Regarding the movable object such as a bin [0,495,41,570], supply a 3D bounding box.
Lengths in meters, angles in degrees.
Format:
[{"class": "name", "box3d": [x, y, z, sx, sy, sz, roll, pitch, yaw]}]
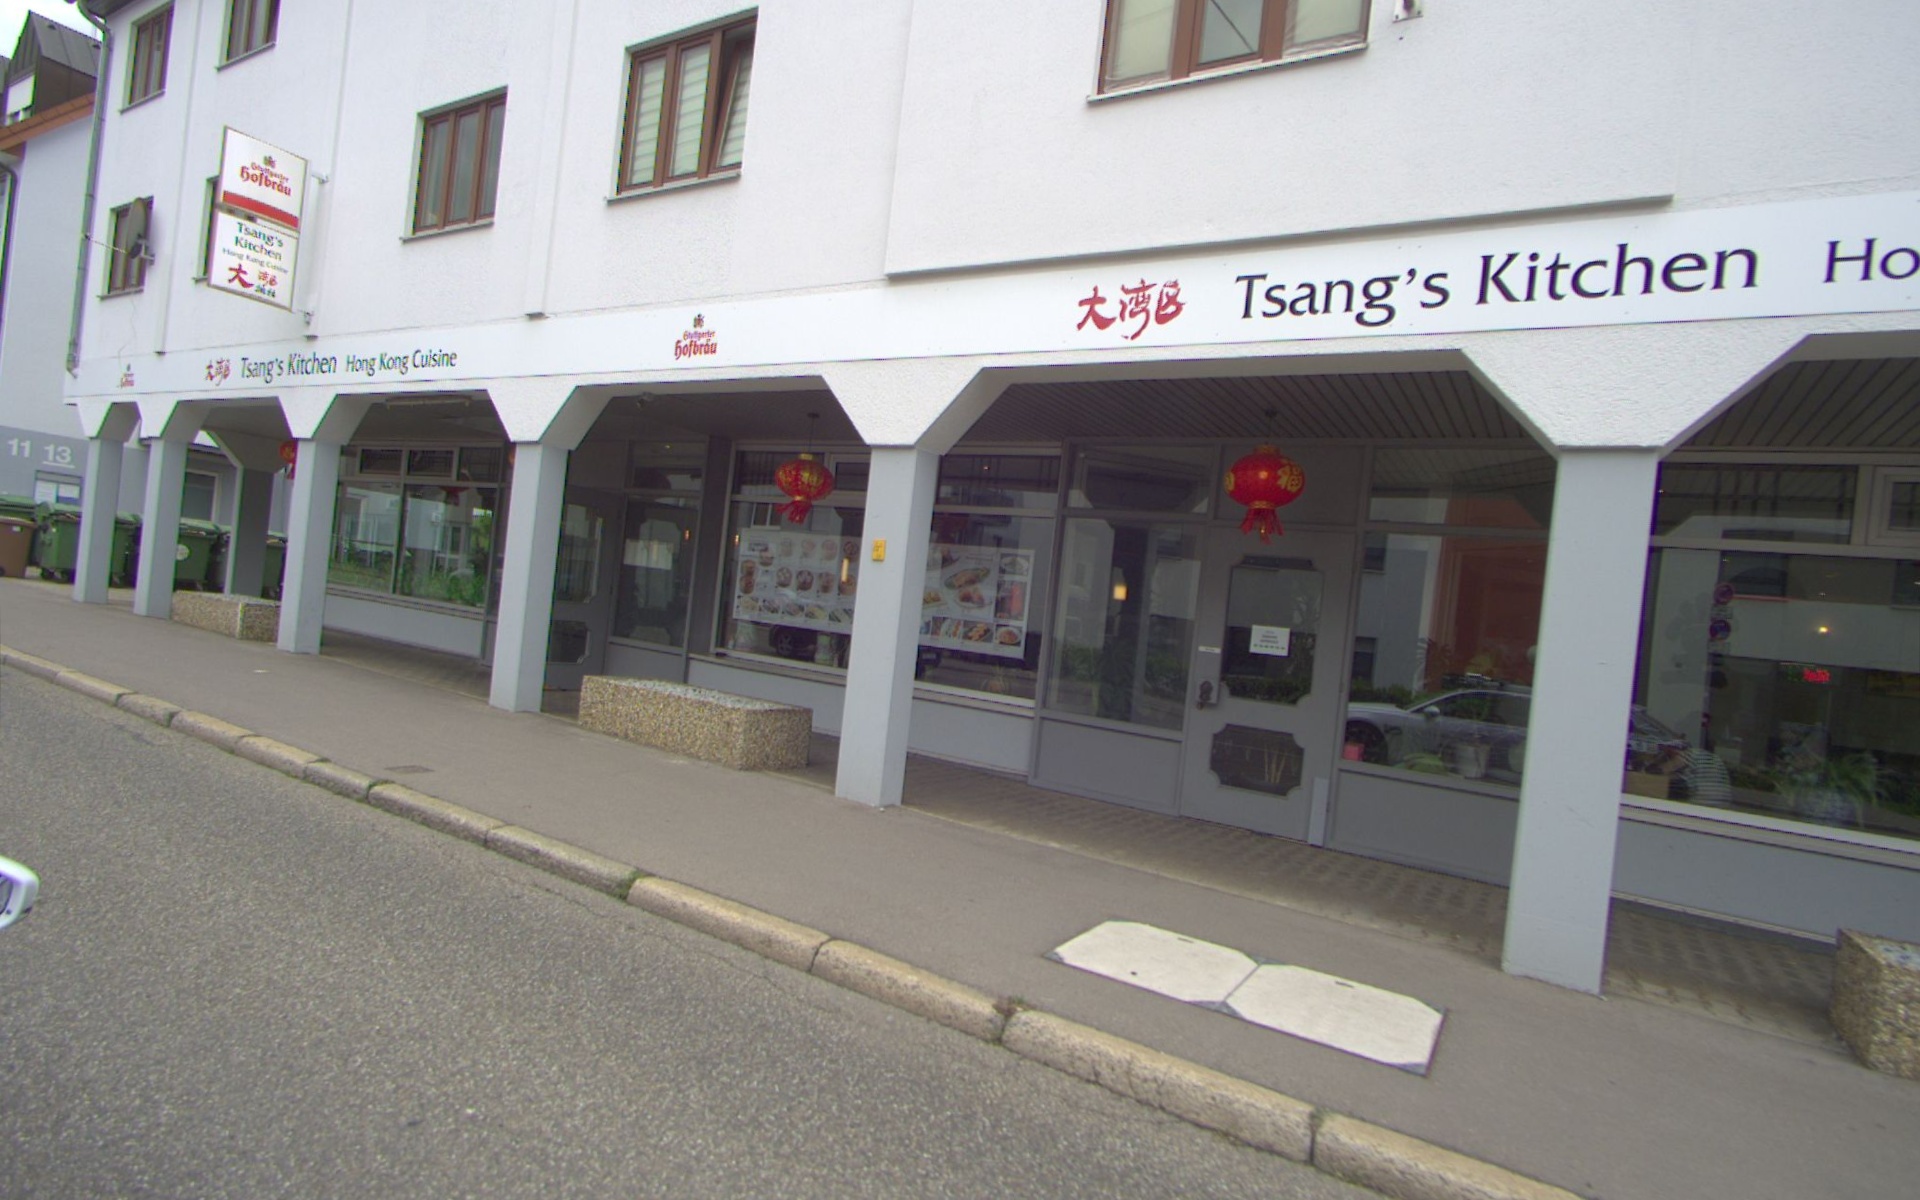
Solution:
[{"class": "movable object such as a bin", "box3d": [-20.170, -1.473, 20.849, 1.286, 1.452, 1.269, 7, 0, 32]}]

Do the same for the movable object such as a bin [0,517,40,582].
[{"class": "movable object such as a bin", "box3d": [-17.475, -0.946, 18.392, 0.956, 1.092, 0.698, 7, 0, 35]}]

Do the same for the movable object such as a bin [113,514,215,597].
[{"class": "movable object such as a bin", "box3d": [-15.960, -0.888, 20.180, 1.239, 1.434, 1.210, 7, 0, 35]}]

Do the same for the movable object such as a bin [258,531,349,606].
[{"class": "movable object such as a bin", "box3d": [-14.561, -0.689, 22.305, 1.239, 1.434, 1.210, 7, 0, 35]}]

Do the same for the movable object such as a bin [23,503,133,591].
[{"class": "movable object such as a bin", "box3d": [-16.676, -1.000, 19.022, 1.239, 1.434, 1.210, 7, 0, 35]}]

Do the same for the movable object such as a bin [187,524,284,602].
[{"class": "movable object such as a bin", "box3d": [-15.288, -0.781, 21.240, 1.239, 1.434, 1.210, 7, 0, 35]}]

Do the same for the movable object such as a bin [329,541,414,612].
[{"class": "movable object such as a bin", "box3d": [-13.775, -0.549, 23.568, 1.239, 1.434, 1.210, 7, 0, 35]}]
